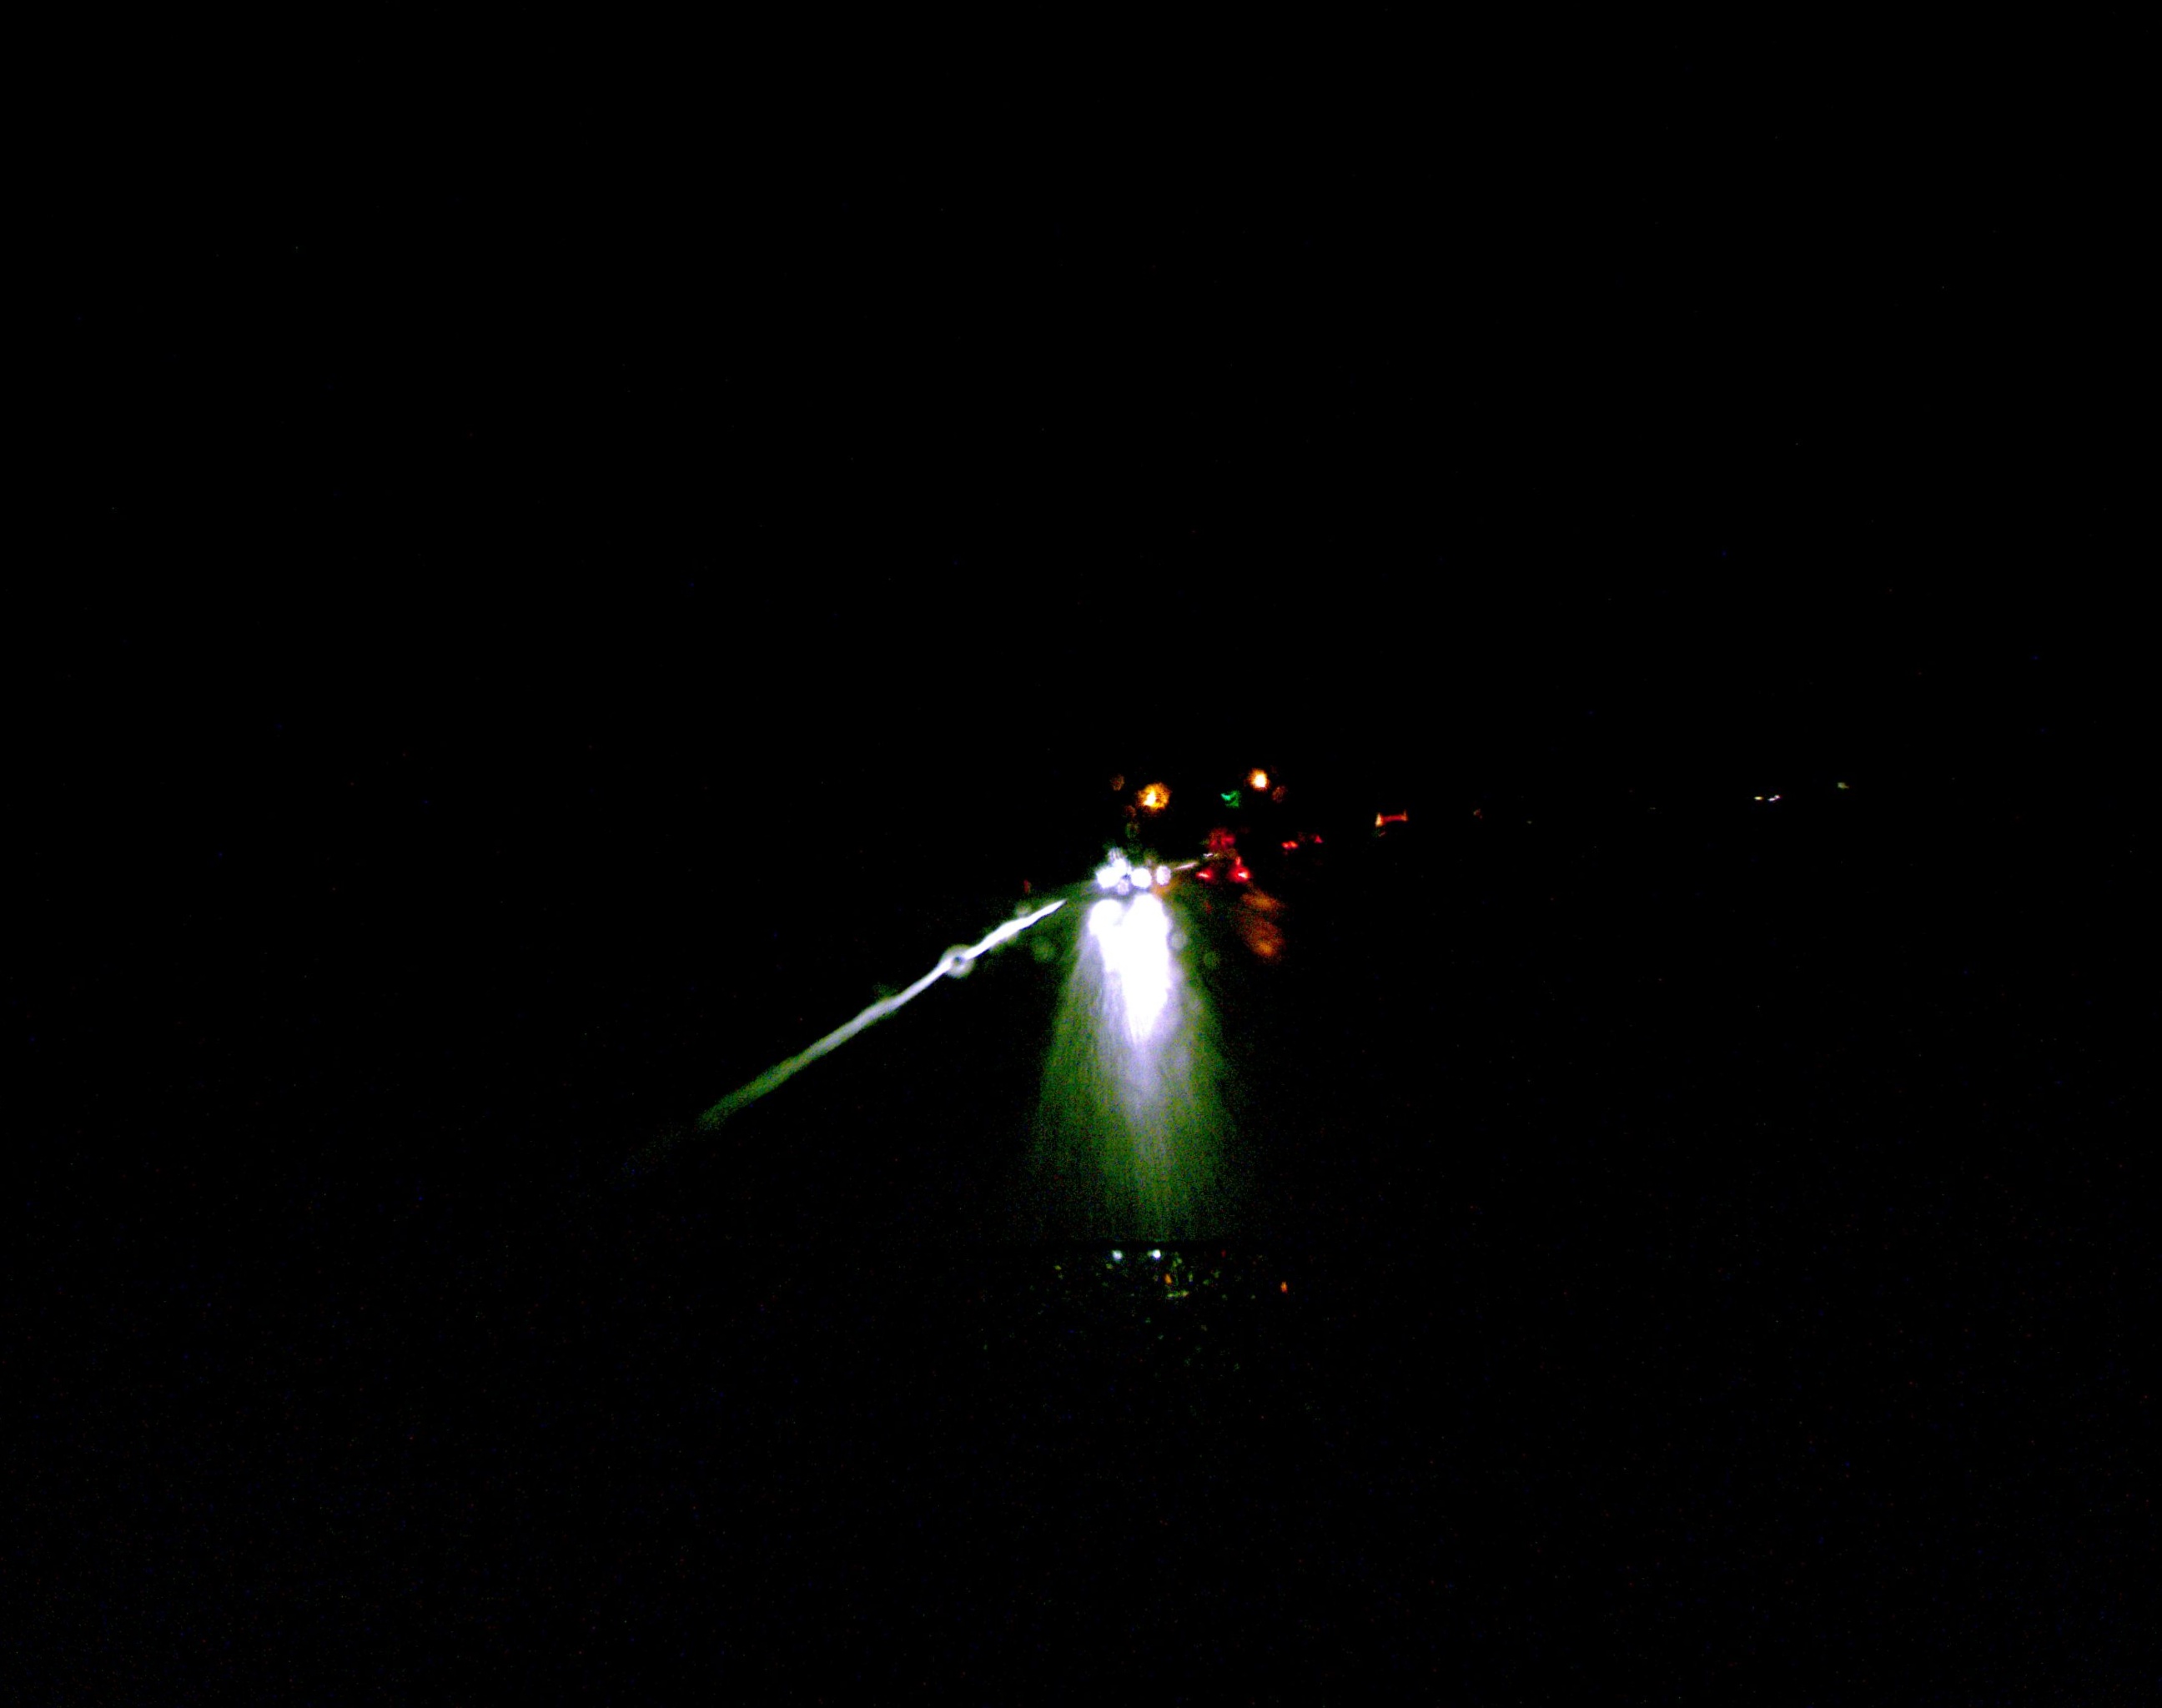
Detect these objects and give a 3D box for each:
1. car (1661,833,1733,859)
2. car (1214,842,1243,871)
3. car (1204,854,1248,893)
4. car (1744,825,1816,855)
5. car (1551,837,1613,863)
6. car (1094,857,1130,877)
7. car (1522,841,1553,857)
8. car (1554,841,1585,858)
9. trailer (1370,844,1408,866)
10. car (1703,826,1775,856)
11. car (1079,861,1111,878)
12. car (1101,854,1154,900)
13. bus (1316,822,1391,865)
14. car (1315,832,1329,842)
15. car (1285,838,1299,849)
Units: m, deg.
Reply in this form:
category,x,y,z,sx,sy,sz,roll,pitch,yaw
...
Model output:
category,x,y,z,sx,sy,sz,roll,pitch,yaw
car,47.307,-0.681,58.475,1.941,1.688,4.626,-4,3,4
car,11.346,0.180,58.370,1.997,2.001,4.850,-4,-1,11
car,5.968,0.766,31.570,1.638,1.501,4.098,-1,0,9
car,52.765,-1.094,57.430,1.763,2.044,3.998,-4,3,1
car,38.832,-0.327,59.007,1.941,1.688,4.626,-4,3,4
car,2.685,1.084,64.754,1.676,1.557,3.808,-2,0,24
car,48.402,-0.576,80.595,4.046,1.391,1.855,-7,7,-45
car,50.391,-0.448,78.346,4.046,1.391,1.855,-7,7,-45
trailer,23.917,0.025,59.113,1.816,1.668,4.103,0,1,9
car,50.321,-1.033,58.206,1.998,2.044,3.998,-4,3,1
car,1.334,1.422,72.469,1.636,1.502,3.681,0,1,26
car,2.018,0.905,31.808,1.958,1.711,4.002,-2,0,7
bus,27.481,-1.130,77.490,2.900,3.847,13.055,-3,2,0
car,40.126,-2.811,126.464,1.697,1.590,3.806,-2,2,25
car,30.686,-1.548,110.520,1.637,1.502,4.123,0,1,20
